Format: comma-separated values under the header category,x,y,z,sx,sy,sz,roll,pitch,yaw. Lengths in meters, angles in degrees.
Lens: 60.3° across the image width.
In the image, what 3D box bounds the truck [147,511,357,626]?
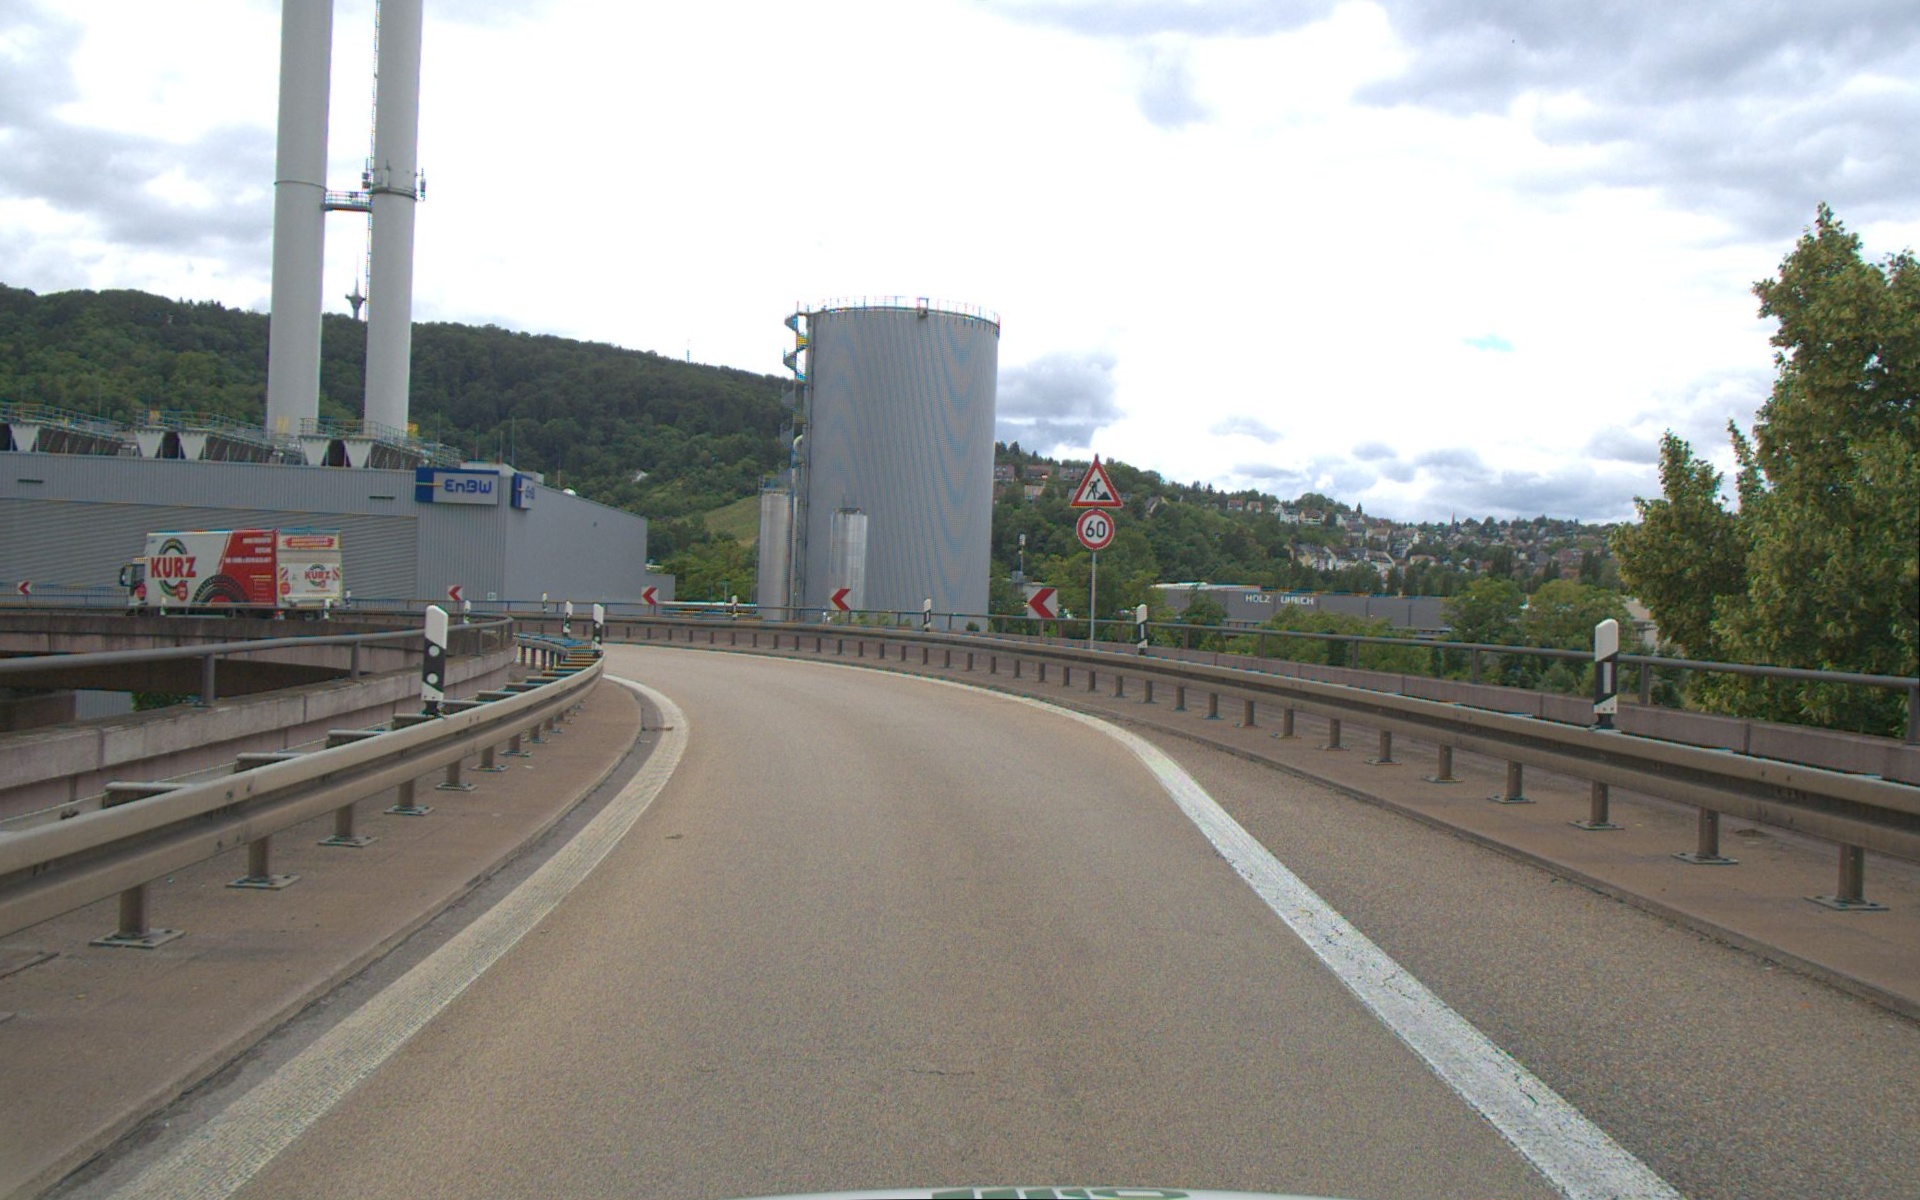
category,x,y,z,sx,sy,sz,roll,pitch,yaw
truck,-24.536,-1.064,57.172,7.766,3.737,3.050,1,0,35
